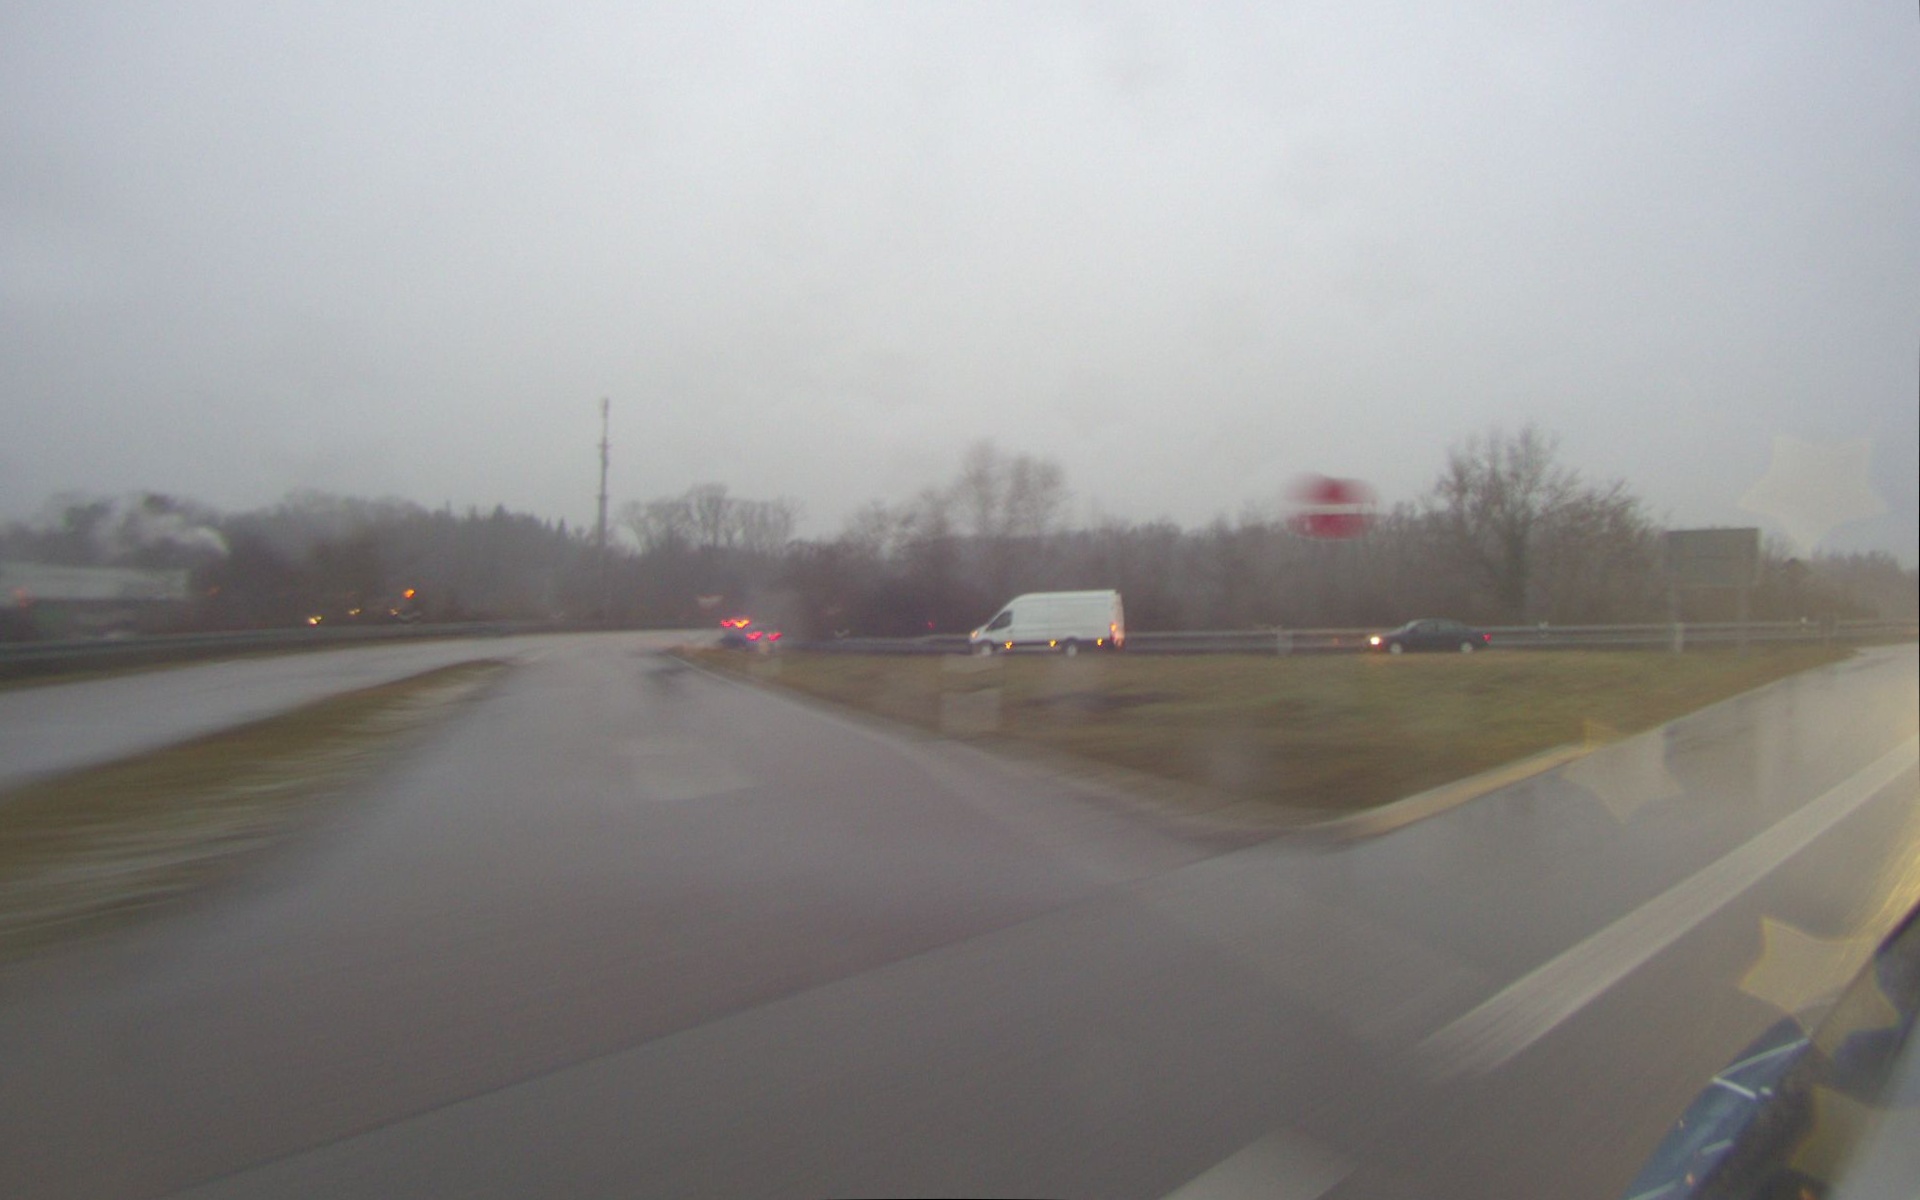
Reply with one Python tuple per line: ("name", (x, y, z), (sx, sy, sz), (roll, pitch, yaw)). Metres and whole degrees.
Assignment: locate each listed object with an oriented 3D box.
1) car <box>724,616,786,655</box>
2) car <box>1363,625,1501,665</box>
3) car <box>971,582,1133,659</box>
("car", (-11.076, 1.845, 54.383), (1.959, 1.960, 4.913), (1, -1, -28))
("car", (17.527, 1.668, 37.734), (4.298, 1.433, 1.740), (0, -2, 4))
("car", (3.802, 0.813, 41.938), (6.315, 3.003, 2.273), (0, 1, 22))
